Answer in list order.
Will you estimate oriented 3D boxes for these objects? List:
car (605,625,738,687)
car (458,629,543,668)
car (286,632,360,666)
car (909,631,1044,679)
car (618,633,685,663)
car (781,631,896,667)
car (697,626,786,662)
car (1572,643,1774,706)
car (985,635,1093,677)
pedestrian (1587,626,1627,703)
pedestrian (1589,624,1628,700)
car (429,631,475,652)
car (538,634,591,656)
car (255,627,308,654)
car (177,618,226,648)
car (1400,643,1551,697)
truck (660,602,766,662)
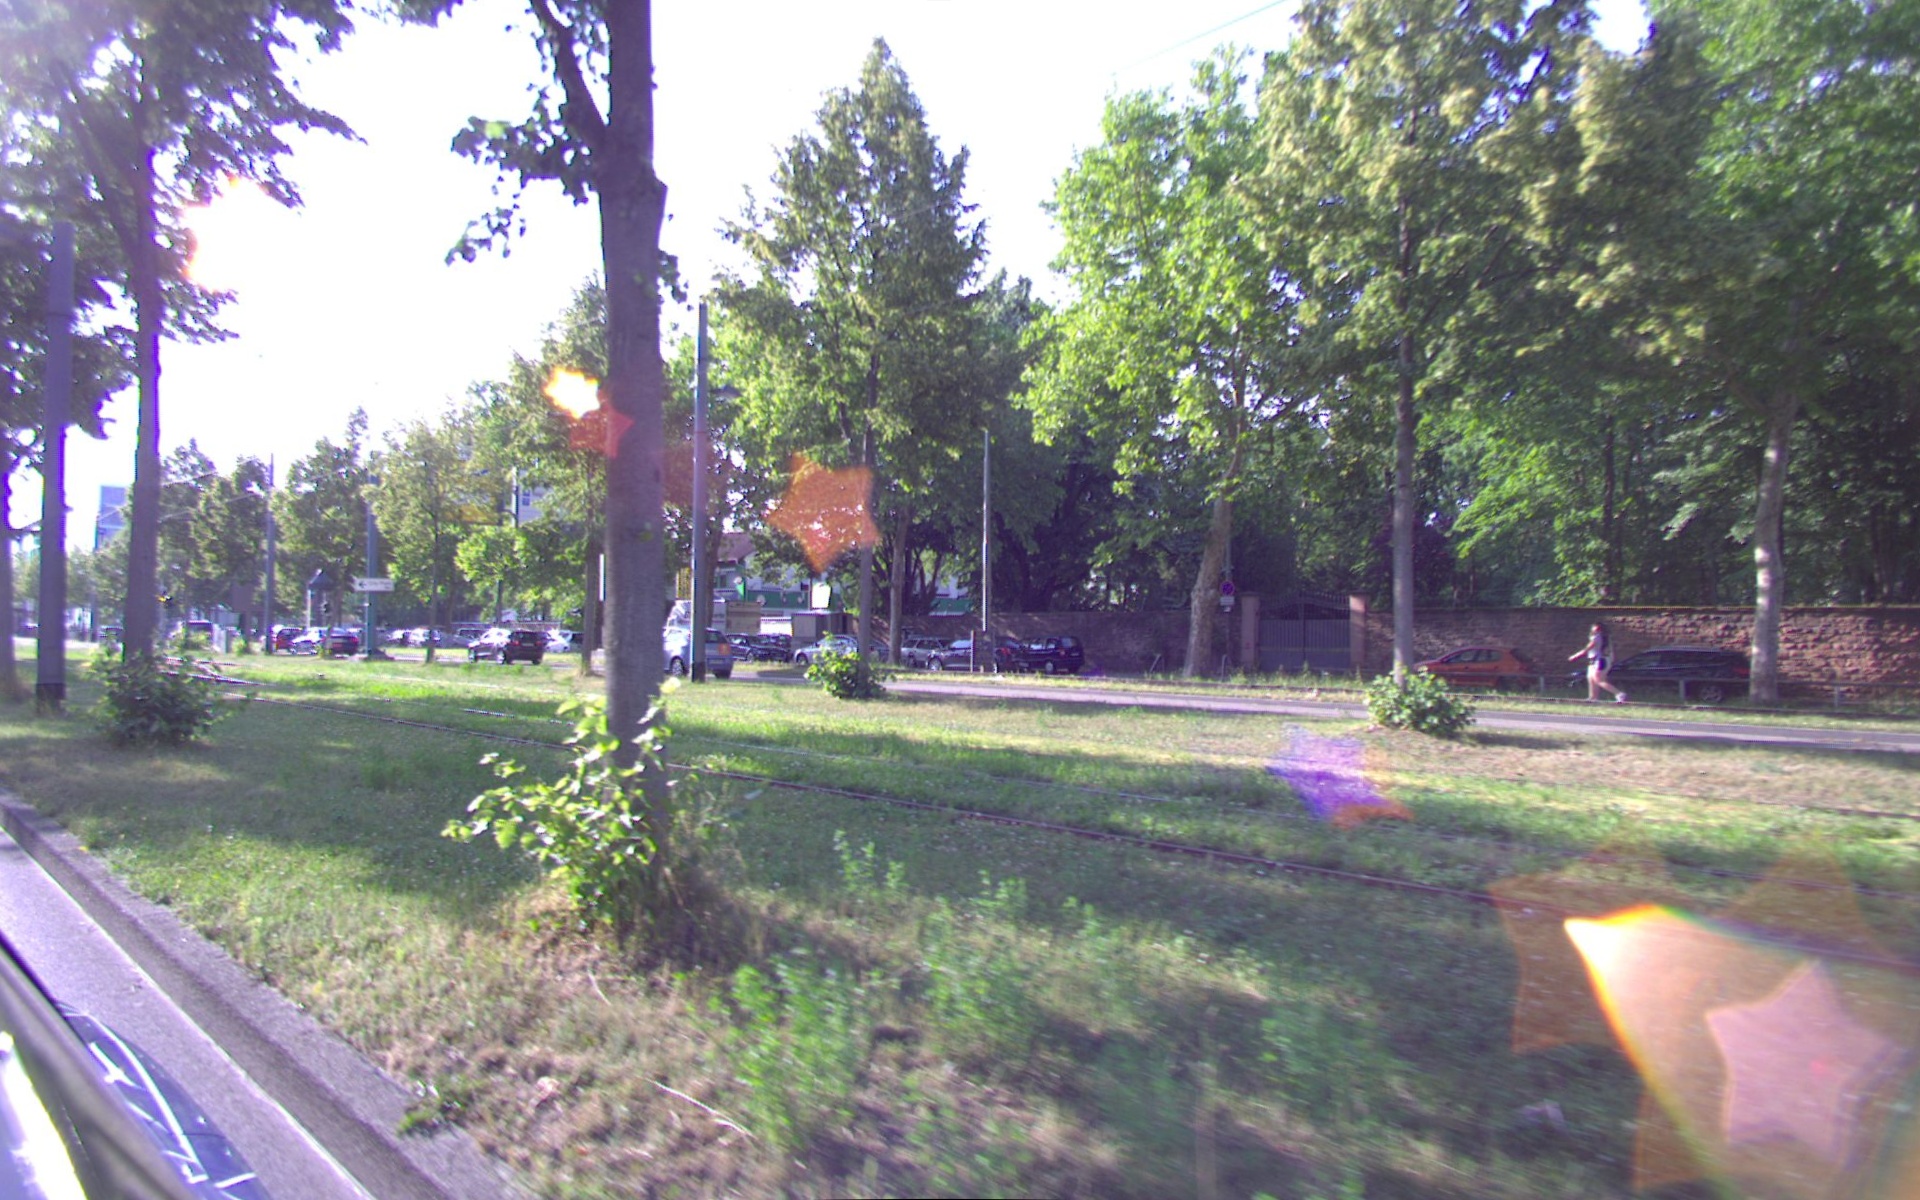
[{"bbox_3d":[-8.177,1.519,28.525,4.130,1.544,1.594,-1,0,41],"label":"car"},{"bbox_3d":[-19.038,1.976,41.853,4.033,1.446,1.664,-1,0,41],"label":"car"},{"bbox_3d":[-29.966,2.261,47.545,4.668,1.446,1.664,-1,0,41],"label":"car"},{"bbox_3d":[0.498,1.811,34.310,4.473,1.442,1.811,-1,0,42],"label":"car"},{"bbox_3d":[-15.181,2.324,49.715,1.564,1.286,3.963,0,0,-43],"label":"car"},{"bbox_3d":[-4.842,1.897,39.881,4.898,1.253,1.658,-1,0,42],"label":"car"},{"bbox_3d":[-9.379,1.845,43.298,3.957,1.442,1.654,-1,0,40],"label":"car"},{"bbox_3d":[19.634,1.989,27.986,4.361,1.453,1.767,-1,0,43],"label":"car"},{"bbox_3d":[3.385,2.362,43.777,4.473,1.624,1.811,-1,0,42],"label":"car"},{"bbox_3d":[12.712,1.253,19.895,0.601,1.487,0.382,-1,0,40],"label":"pedestrian"},{"bbox_3d":[13.079,1.230,20.400,0.601,1.487,0.382,-1,0,40],"label":"pedestrian"},{"bbox_3d":[-34.552,2.818,68.789,3.781,1.292,1.437,-1,0,40],"label":"car"},{"bbox_3d":[-22.448,2.517,57.336,3.772,1.116,1.284,-1,0,43],"label":"car"},{"bbox_3d":[-40.689,2.385,60.675,3.927,1.536,1.664,-1,-1,40],"label":"car"},{"bbox_3d":[-49.543,2.119,66.093,4.215,1.878,1.664,-1,0,40],"label":"car"},{"bbox_3d":[16.126,2.138,31.769,3.911,1.453,1.699,-1,0,43],"label":"car"},{"bbox_3d":[-15.866,1.964,64.537,2.855,3.542,7.949,0,0,-45],"label":"truck"}]
